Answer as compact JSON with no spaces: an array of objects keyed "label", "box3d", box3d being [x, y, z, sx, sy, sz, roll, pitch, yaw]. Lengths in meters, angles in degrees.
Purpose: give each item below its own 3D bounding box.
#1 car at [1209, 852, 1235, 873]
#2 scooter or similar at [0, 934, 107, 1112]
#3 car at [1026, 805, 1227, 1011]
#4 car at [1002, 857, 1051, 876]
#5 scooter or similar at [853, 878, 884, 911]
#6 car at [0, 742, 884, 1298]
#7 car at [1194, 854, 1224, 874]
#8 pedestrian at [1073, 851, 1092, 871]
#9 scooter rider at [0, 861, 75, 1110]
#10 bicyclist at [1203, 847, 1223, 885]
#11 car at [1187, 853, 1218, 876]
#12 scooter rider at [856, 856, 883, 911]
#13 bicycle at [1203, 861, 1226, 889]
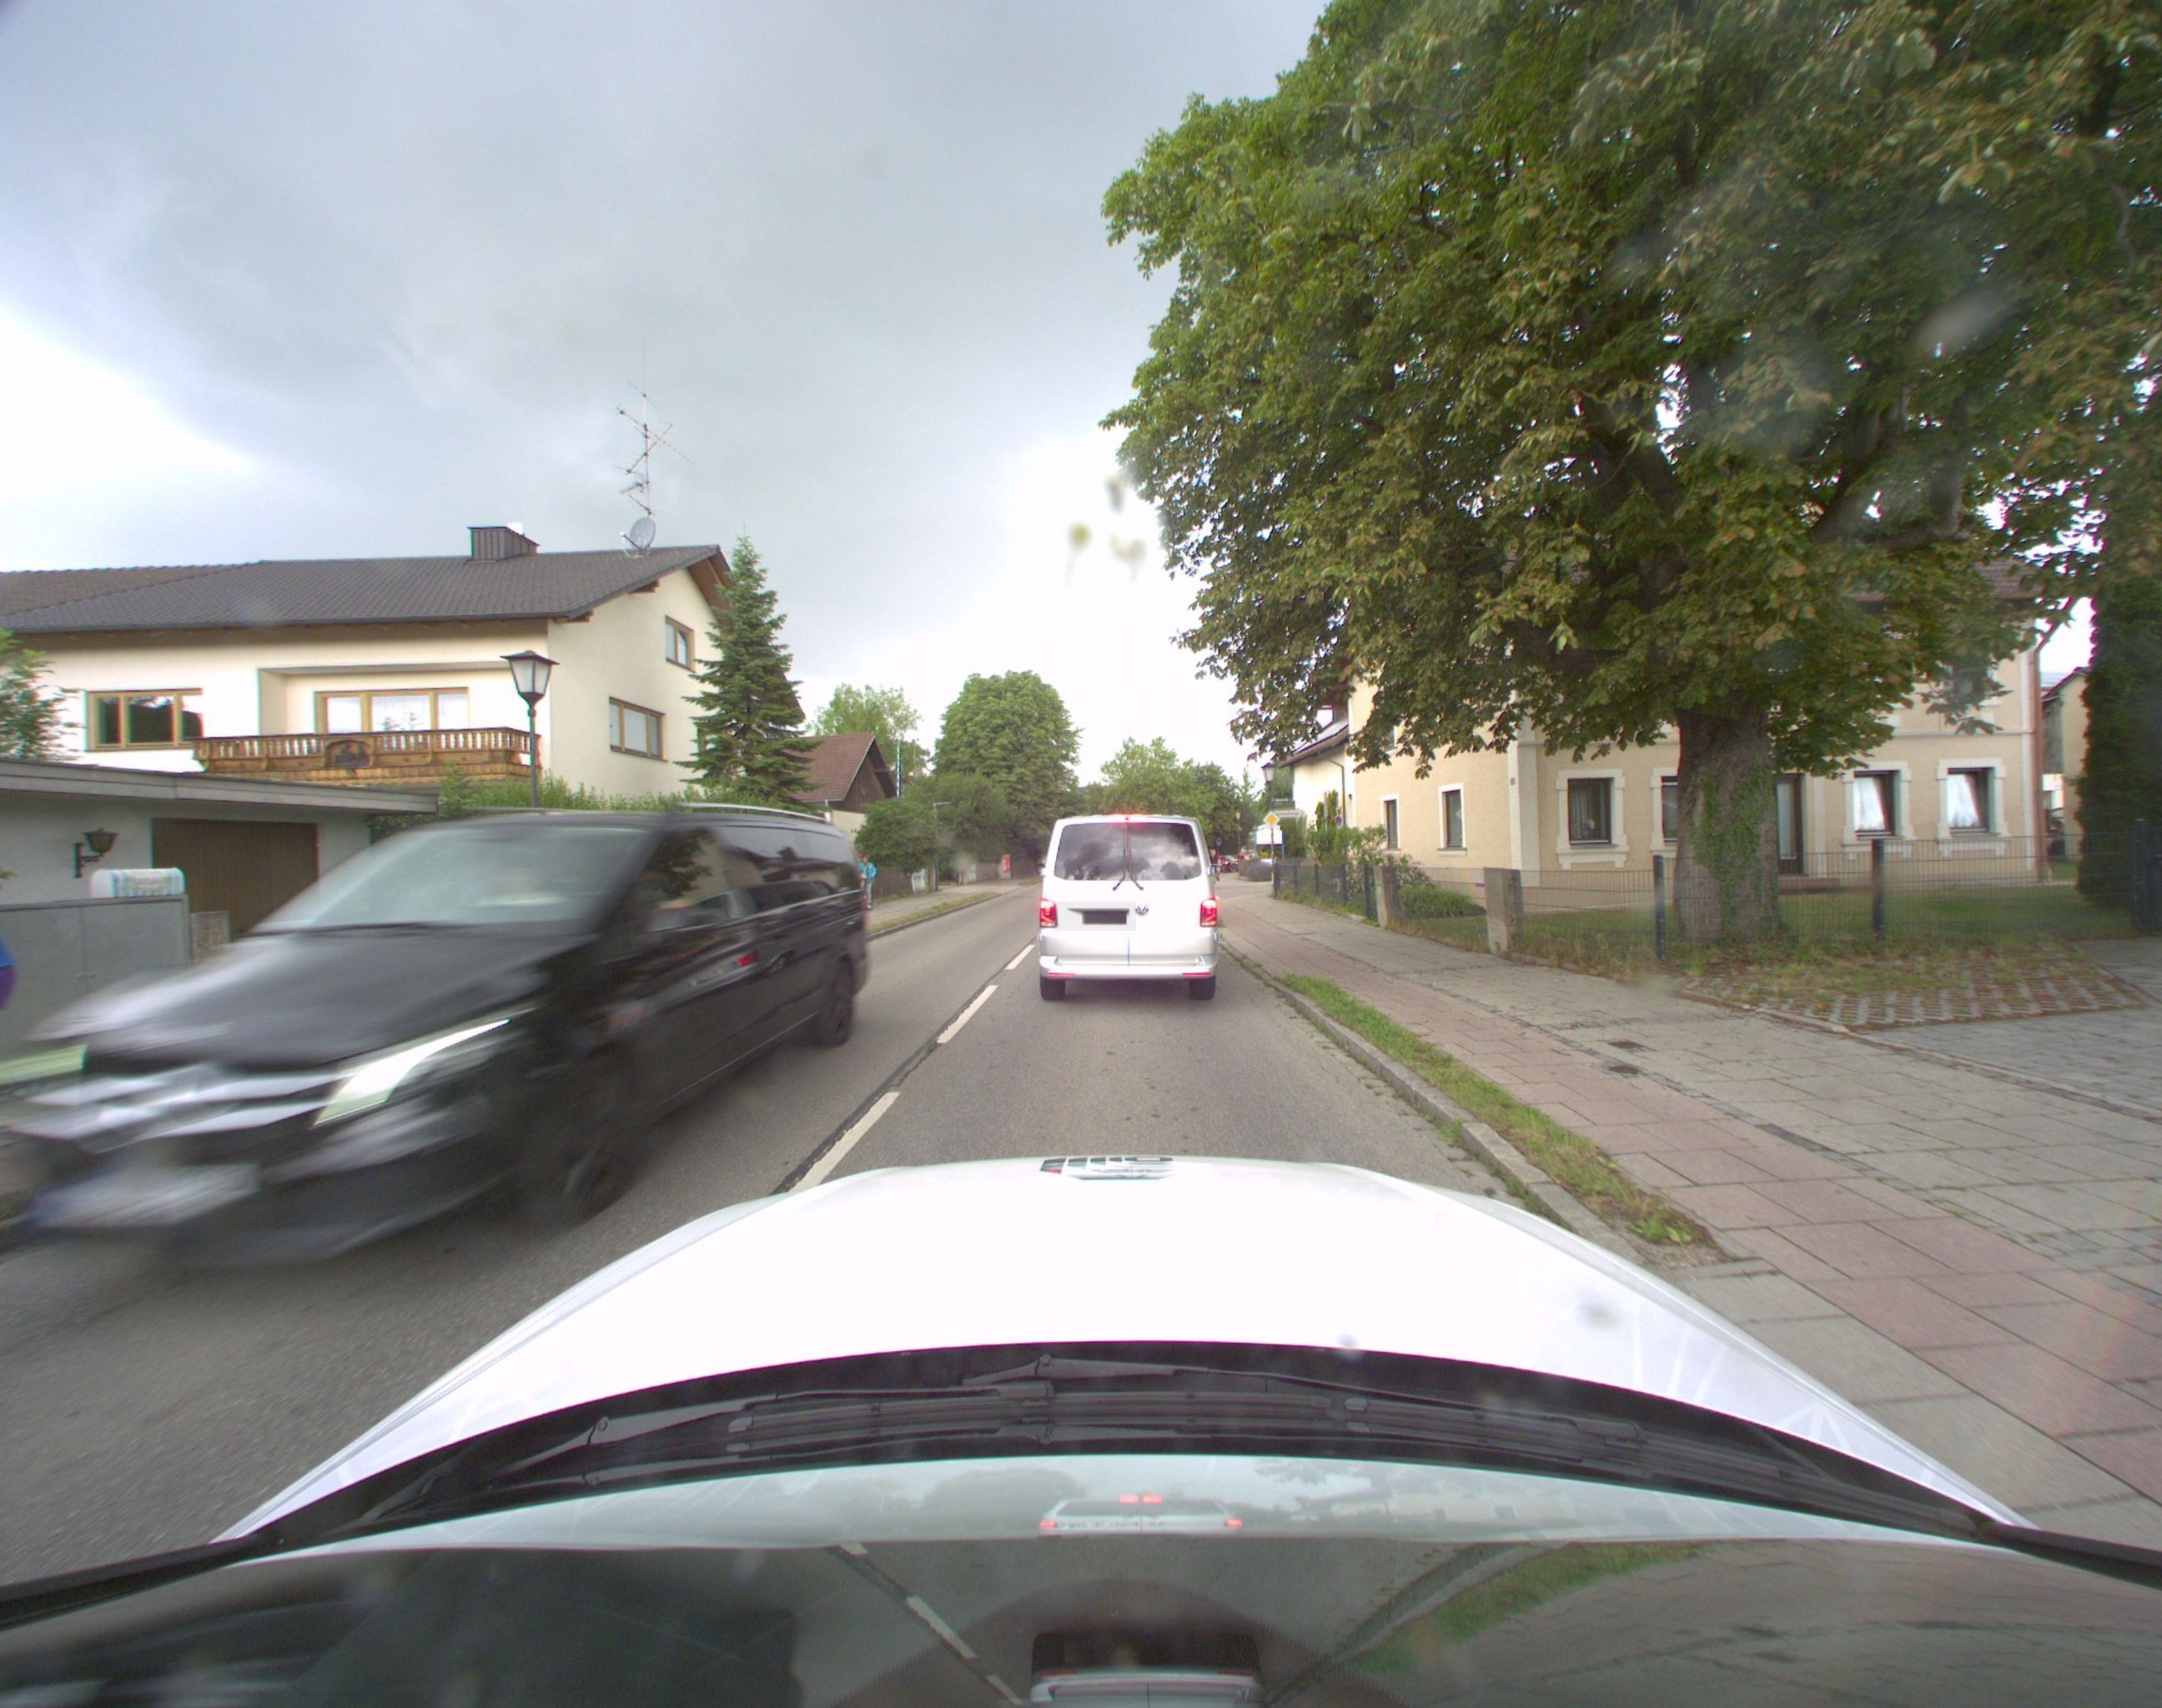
[{"label":"car","box3d":[12.606,0.705,72.493,1.867,1.748,4.096,-2,0,15]},{"label":"scooter or similar","box3d":[-6.953,1.066,4.928,0.658,1.037,1.179,-1,0,3]},{"label":"car","box3d":[0.537,0.526,9.782,1.873,1.940,3.923,-1,0,3]},{"label":"car","box3d":[-4.548,1.019,67.831,3.982,1.486,1.996,-1,0,-6]},{"label":"scooter or similar","box3d":[-5.855,1.117,22.492,0.519,0.850,1.062,-1,0,3]},{"label":"car","box3d":[-2.976,0.585,5.264,1.957,1.853,4.950,-2,0,2]},{"label":"car","box3d":[10.332,0.775,65.395,1.867,1.535,3.937,-1,0,16]},{"label":"pedestrian","box3d":[0.130,0.657,73.986,1.327,1.803,1.059,-1,0,-29]},{"label":"scooter rider","box3d":[-6.977,0.809,4.956,0.690,1.524,0.801,0,0,3]},{"label":"bicyclist","box3d":[5.797,0.538,35.774,0.733,1.633,0.891,-1,0,3]},{"label":"car","box3d":[8.943,0.752,59.689,1.868,1.535,3.936,-1,0,14]},{"label":"scooter rider","box3d":[-5.836,0.800,22.507,0.500,1.489,0.716,-1,0,2]},{"label":"bicycle","box3d":[5.859,0.905,35.769,0.761,1.143,1.846,-1,0,3]}]
